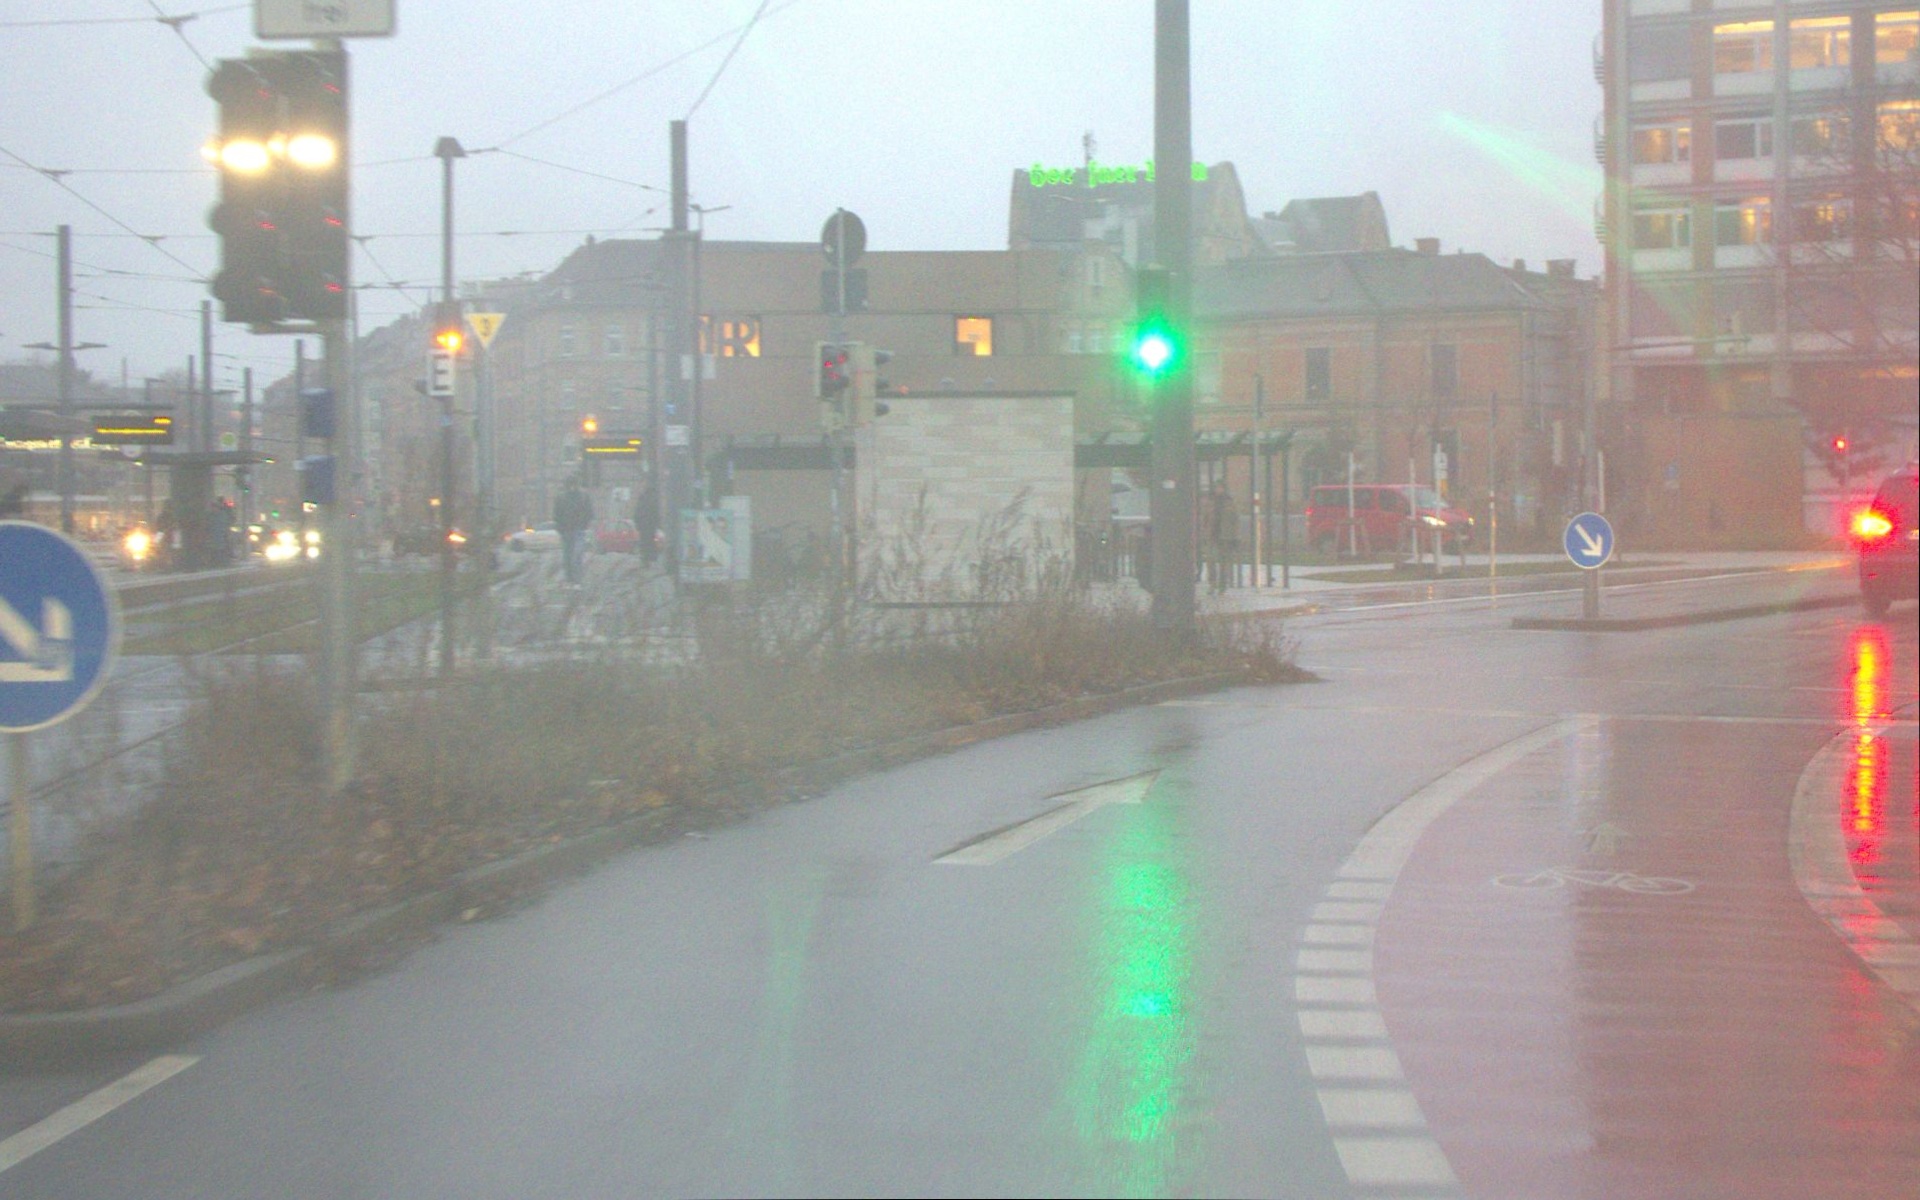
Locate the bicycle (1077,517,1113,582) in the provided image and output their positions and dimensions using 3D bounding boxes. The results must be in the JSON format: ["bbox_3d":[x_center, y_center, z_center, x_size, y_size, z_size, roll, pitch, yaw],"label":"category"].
[{"bbox_3d":[2.469,-0.926,62.857,0.548,1.161,1.899,2,1,0],"label":"bicycle"}]

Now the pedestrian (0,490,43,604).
[{"bbox_3d":[-15.201,-0.855,55.314,0.712,1.800,0.717,1,1,-4],"label":"pedestrian"}]

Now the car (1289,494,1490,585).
[{"bbox_3d":[11.555,-1.646,92.779,2.252,2.273,5.035,1,1,-44],"label":"car"}]

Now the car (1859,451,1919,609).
[{"bbox_3d":[12.211,-0.863,41.409,1.650,1.812,3.994,2,3,30],"label":"car"}]

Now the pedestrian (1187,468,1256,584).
[{"bbox_3d":[3.808,-1.076,50.102,0.674,1.668,0.729,2,1,33],"label":"pedestrian"}]
